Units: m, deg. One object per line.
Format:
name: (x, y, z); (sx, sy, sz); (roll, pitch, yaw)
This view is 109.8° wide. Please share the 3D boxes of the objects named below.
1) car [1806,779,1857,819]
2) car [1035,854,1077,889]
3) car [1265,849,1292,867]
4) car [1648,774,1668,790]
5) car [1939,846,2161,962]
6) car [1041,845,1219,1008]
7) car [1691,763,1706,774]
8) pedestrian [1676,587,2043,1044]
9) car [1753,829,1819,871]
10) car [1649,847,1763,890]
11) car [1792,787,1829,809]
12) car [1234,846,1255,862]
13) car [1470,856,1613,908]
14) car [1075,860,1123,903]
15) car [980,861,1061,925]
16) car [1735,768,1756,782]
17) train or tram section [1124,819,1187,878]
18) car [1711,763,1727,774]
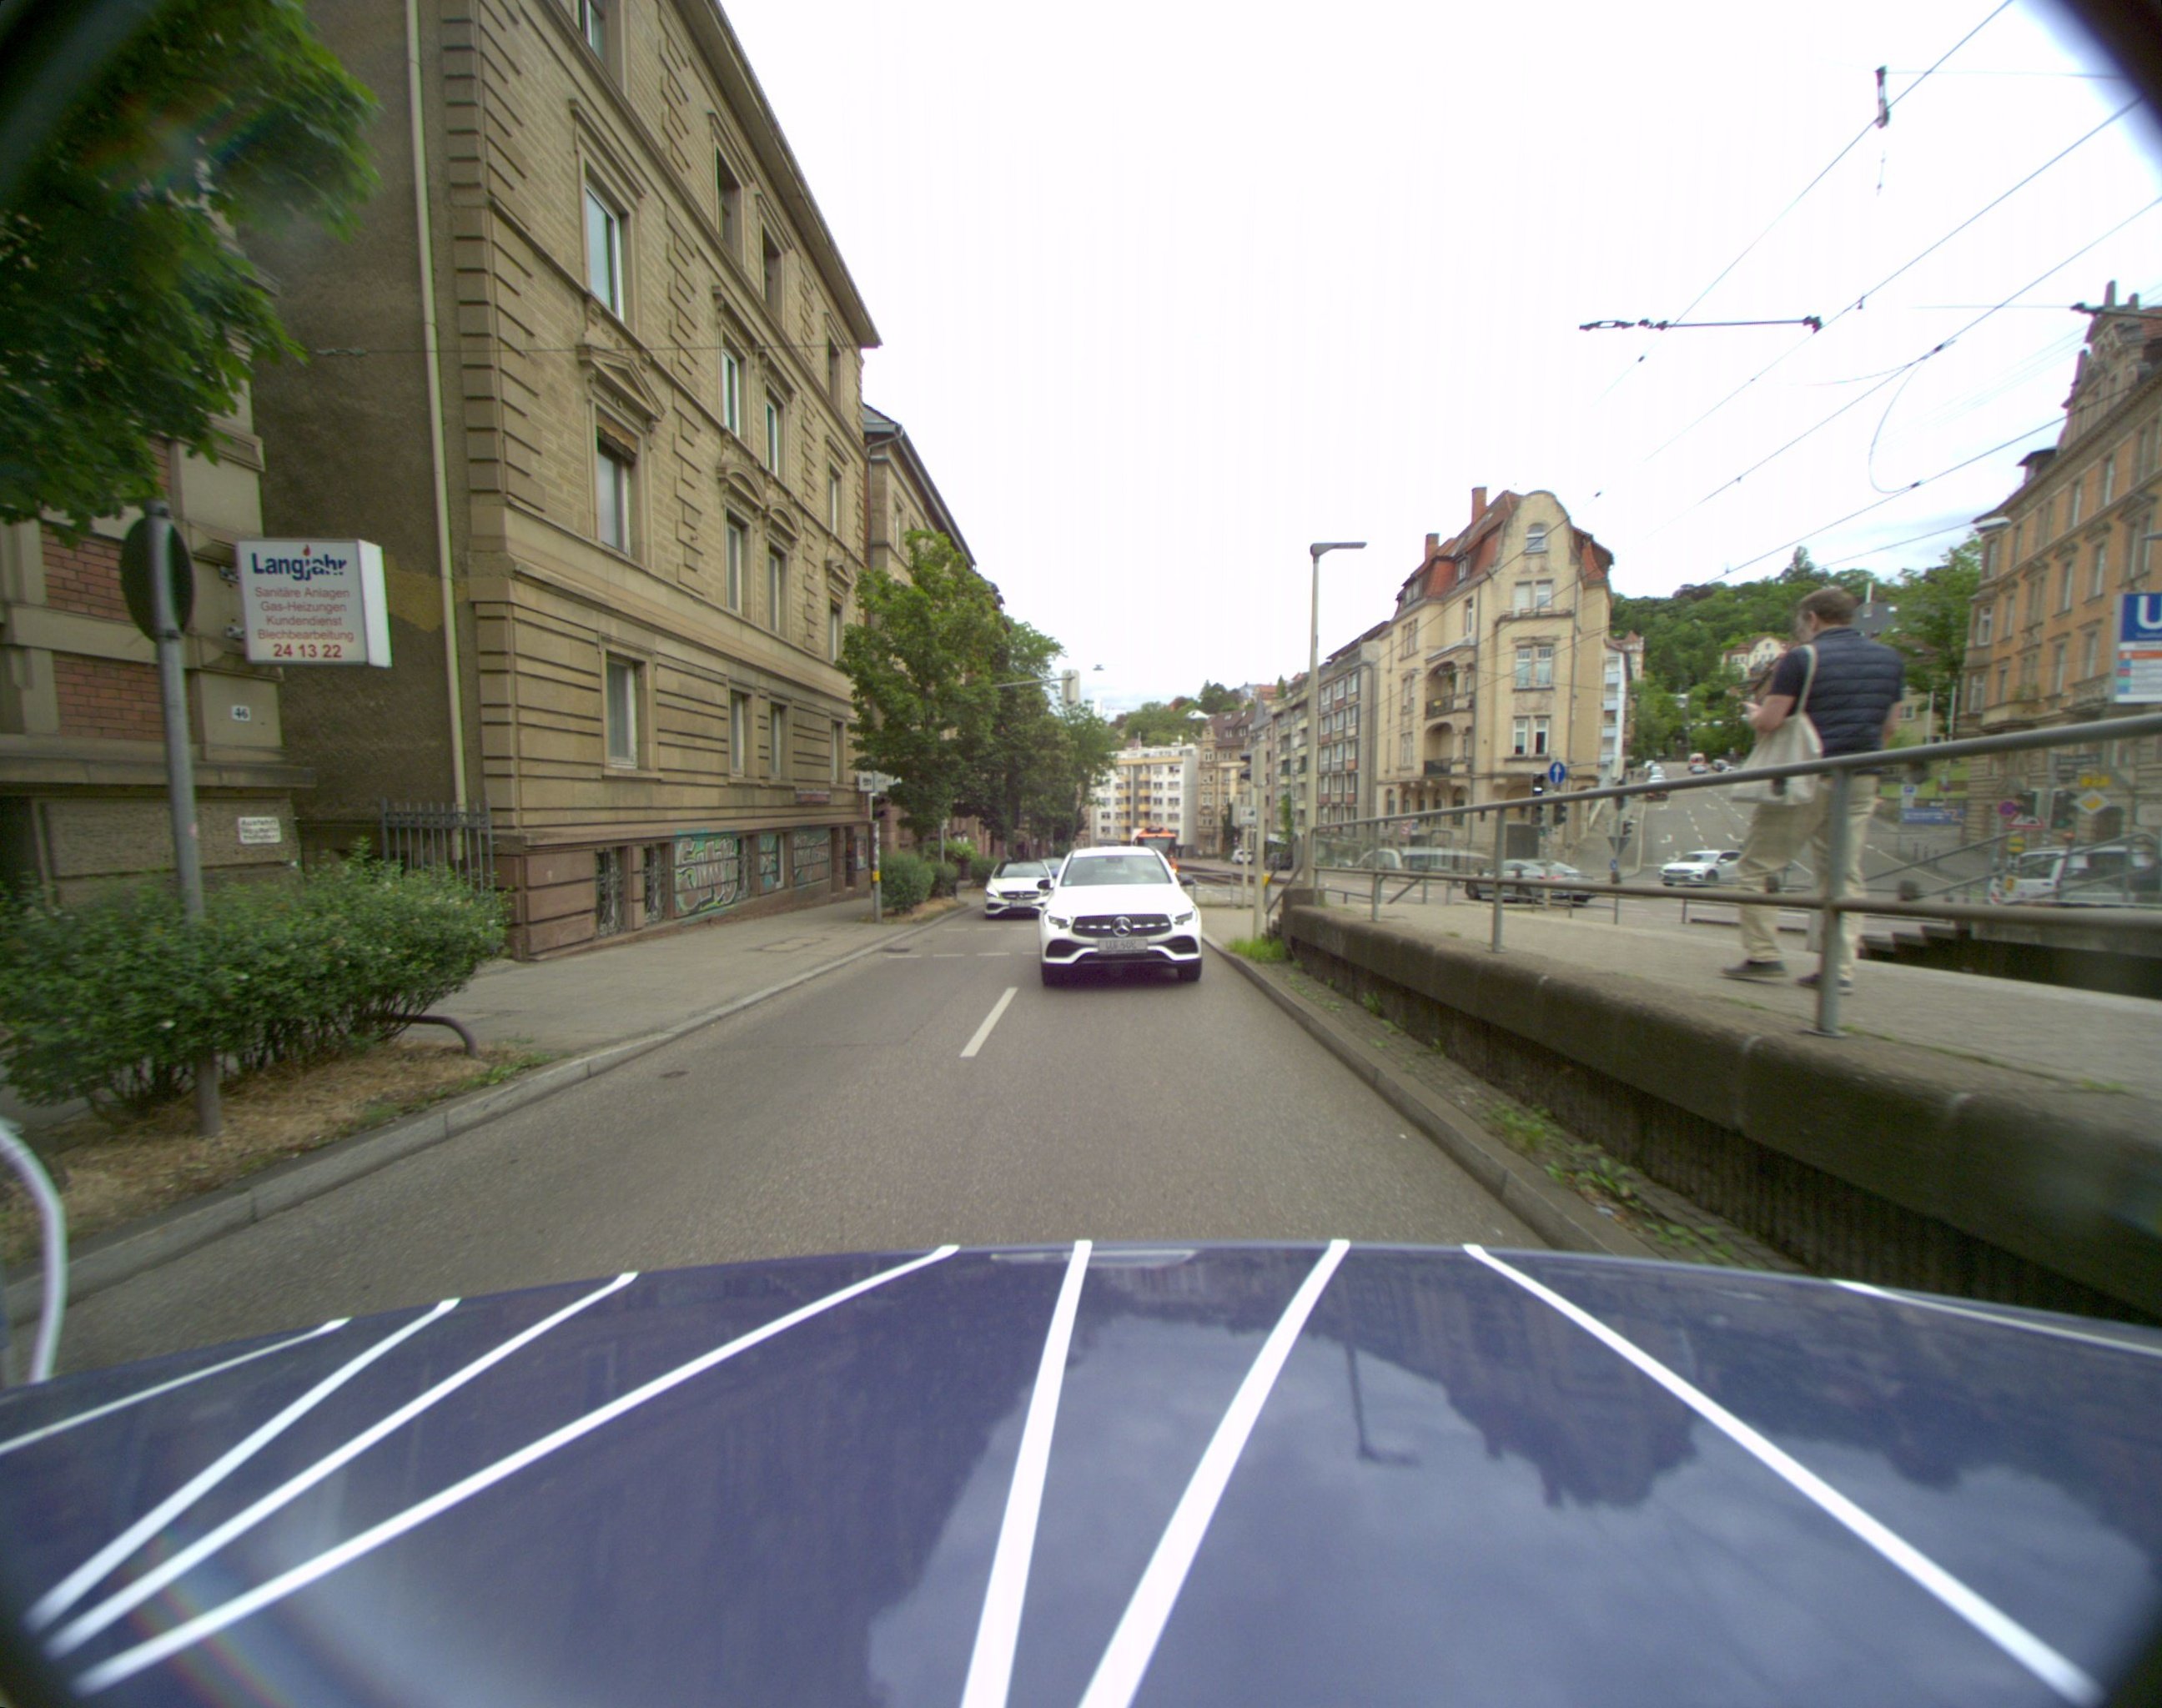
car: (53.277, -3.953, 54.017); (1.994, 2.465, 4.004); (0, 7, 36)
car: (-1.100, 0.762, 35.389); (1.694, 1.466, 3.857); (0, 1, 2)
car: (20.353, 0.402, 78.348); (1.850, 1.772, 4.381); (0, 0, 4)
car: (71.054, -8.911, 93.594); (1.938, 1.630, 4.004); (0, 7, 36)
car: (17.200, 0.741, 12.353); (1.849, 1.724, 4.382); (0, 0, 6)
car: (0.574, 0.750, 10.435); (1.840, 1.657, 4.670); (-2, 1, 1)
car: (96.688, -13.455, 119.047); (1.642, 1.453, 3.312); (0, 7, 36)
pedestrian: (3.216, -0.140, 3.235); (0.767, 1.705, 0.766); (0, 1, 2)
car: (35.433, -0.235, 38.291); (1.994, 1.667, 4.005); (0, 6, 37)
car: (26.442, 0.565, 32.174); (4.004, 1.700, 1.996); (0, 0, -21)
car: (57.082, -4.393, 59.471); (1.642, 1.425, 3.312); (0, 7, 36)
car: (21.022, -0.027, 97.781); (1.850, 1.963, 4.051); (0, 0, 2)
car: (14.204, 0.807, 23.771); (1.850, 1.438, 4.380); (0, 0, 0)
car: (0.739, 1.073, 31.078); (1.806, 1.542, 4.000); (-1, 0, 2)
car: (-1.464, 0.926, 19.750); (1.806, 1.392, 3.999); (-1, 0, -1)
car: (82.175, -9.760, 94.028); (1.642, 1.436, 3.312); (0, 7, 36)
train or tram section: (4.766, -0.338, 51.571); (2.968, 3.456, 14.407); (0, 0, 0)
car: (98.393, -13.224, 117.265); (1.642, 1.453, 3.312); (0, 7, 36)
